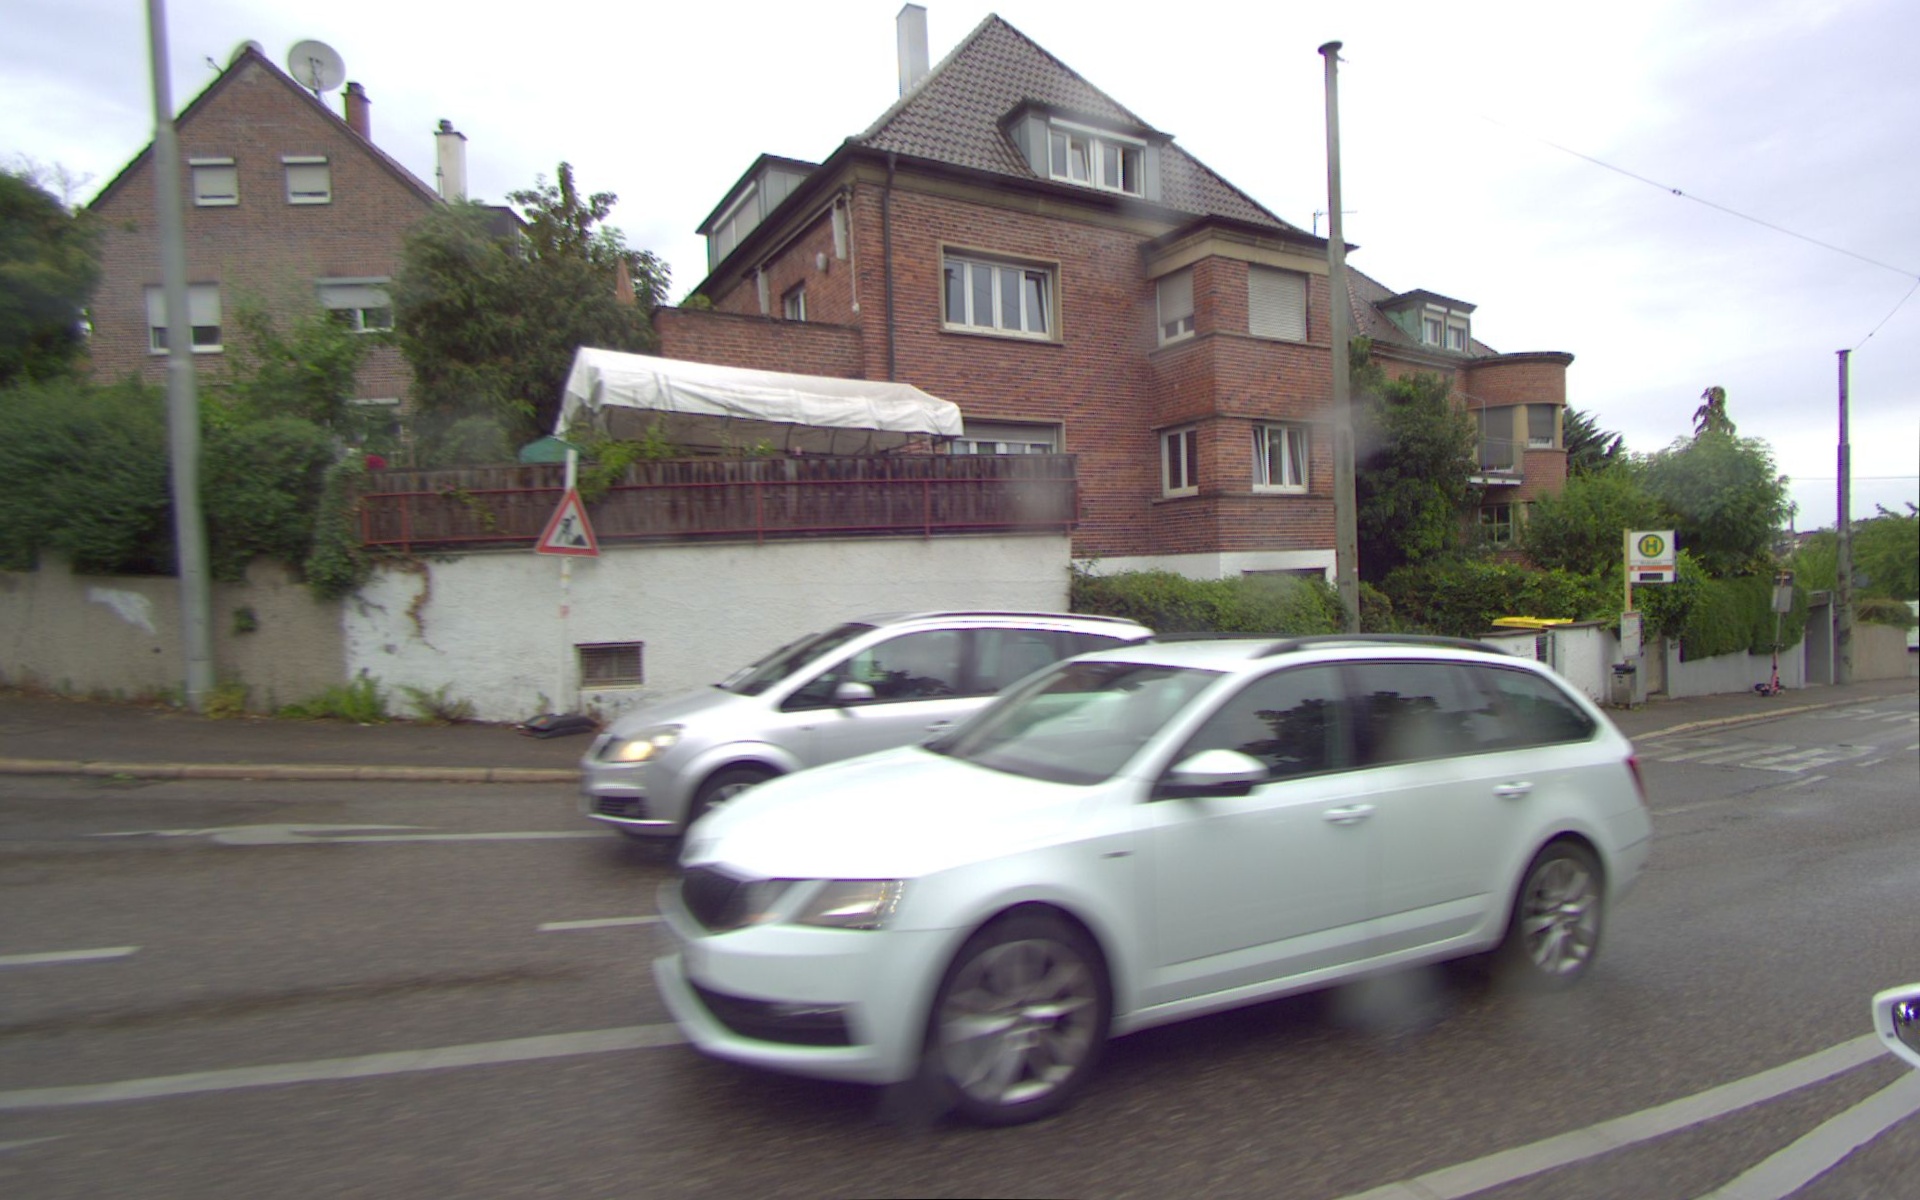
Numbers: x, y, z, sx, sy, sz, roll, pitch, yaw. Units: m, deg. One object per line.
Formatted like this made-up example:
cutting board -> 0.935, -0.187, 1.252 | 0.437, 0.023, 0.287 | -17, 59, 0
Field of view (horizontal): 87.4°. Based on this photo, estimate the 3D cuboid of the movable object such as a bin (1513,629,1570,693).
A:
movable object such as a bin -> 10.725, 1.113, 18.531 | 0.752, 1.096, 0.620 | -1, 3, -35

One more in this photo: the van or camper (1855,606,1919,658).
van or camper -> 58.372, 1.897, 60.696 | 2.353, 2.982, 6.277 | -5, -2, -6

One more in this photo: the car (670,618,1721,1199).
car -> 1.148, 0.895, 4.425 | 4.385, 1.493, 1.840 | 2, -3, -28

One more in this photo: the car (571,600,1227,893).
car -> -0.366, 0.886, 7.257 | 4.402, 1.606, 1.705 | 2, -1, -26

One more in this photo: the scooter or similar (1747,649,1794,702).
scooter or similar -> 19.455, 1.799, 24.106 | 1.422, 1.219, 0.519 | 1, -3, -37

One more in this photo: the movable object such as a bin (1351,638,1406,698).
movable object such as a bin -> 8.222, 1.326, 19.740 | 0.751, 1.096, 0.622 | 0, 3, -29
